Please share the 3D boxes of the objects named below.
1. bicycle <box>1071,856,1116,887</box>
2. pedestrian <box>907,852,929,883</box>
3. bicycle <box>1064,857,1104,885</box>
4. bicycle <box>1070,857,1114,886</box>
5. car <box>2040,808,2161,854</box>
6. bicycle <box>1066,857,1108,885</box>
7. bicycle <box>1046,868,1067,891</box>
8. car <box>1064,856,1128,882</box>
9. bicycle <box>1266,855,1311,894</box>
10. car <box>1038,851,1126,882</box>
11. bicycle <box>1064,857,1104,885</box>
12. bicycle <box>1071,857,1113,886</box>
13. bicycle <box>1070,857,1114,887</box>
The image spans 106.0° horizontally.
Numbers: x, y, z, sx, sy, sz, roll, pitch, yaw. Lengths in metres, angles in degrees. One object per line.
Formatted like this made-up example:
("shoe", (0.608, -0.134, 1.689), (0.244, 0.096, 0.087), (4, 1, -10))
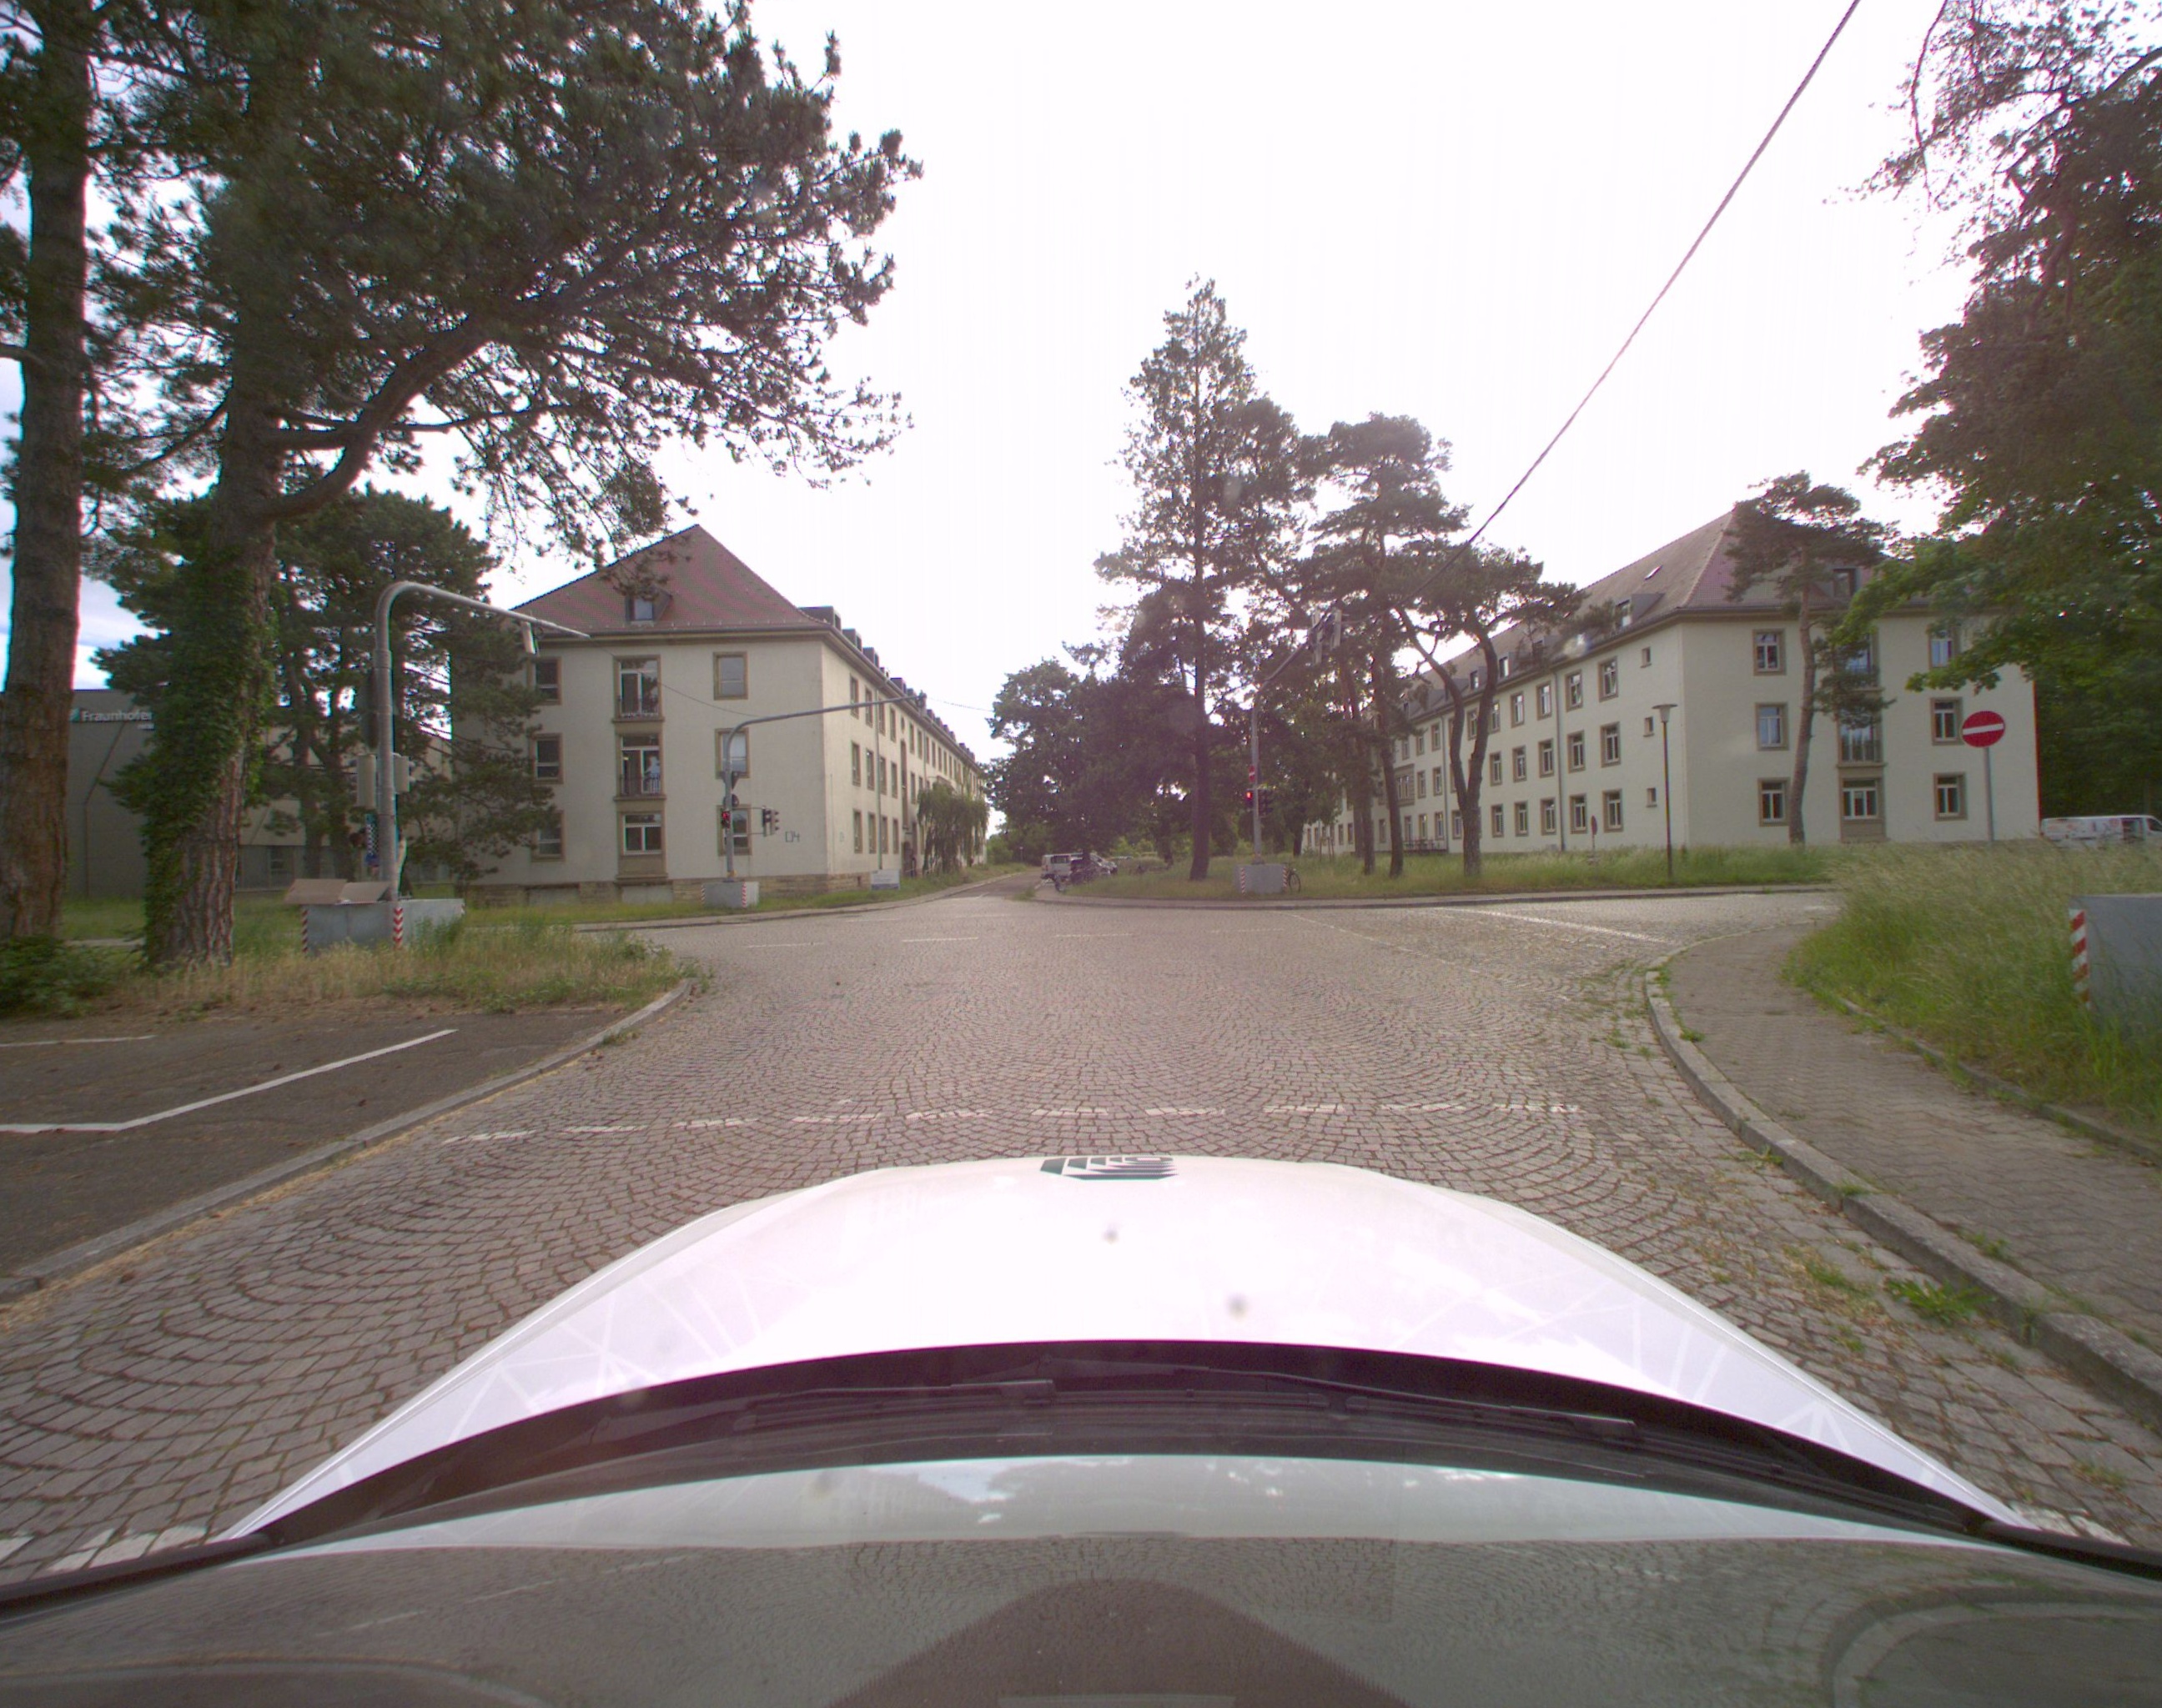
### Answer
("bicycle", (0.591, 0.835, 38.607), (2.063, 1.378, 0.620), (-2, -1, 0))
("pedestrian", (-10.800, 0.865, 53.952), (1.082, 2.014, 1.023), (-2, -1, 5))
("bicycle", (0.158, 0.878, 42.230), (2.063, 1.378, 0.620), (-2, -1, 0))
("bicycle", (0.538, 0.850, 39.902), (2.063, 1.378, 0.620), (-2, -1, 0))
("car", (55.487, -1.214, 43.801), (5.162, 2.288, 2.213), (-2, 0, 1))
("bicycle", (0.313, 0.868, 41.494), (2.063, 1.378, 0.620), (-2, -1, 0))
("bicycle", (-1.084, 1.152, 36.786), (0.615, 0.963, 2.080), (-2, 0, 7))
("car", (0.955, 0.971, 53.129), (3.926, 1.544, 1.996), (-2, 0, -5))
("bicycle", (6.712, 0.644, 26.420), (0.906, 1.177, 1.873), (-2, 0, -1))
("car", (0.045, 0.869, 56.488), (5.698, 1.910, 2.220), (-2, 0, -13))
("bicycle", (0.169, 0.887, 42.977), (2.063, 1.378, 0.620), (-2, -1, 0))
("bicycle", (0.542, 0.860, 40.698), (2.063, 1.378, 0.620), (-2, -1, 0))
("bicycle", (0.544, 0.843, 39.277), (2.063, 1.378, 0.620), (-2, -1, 0))
